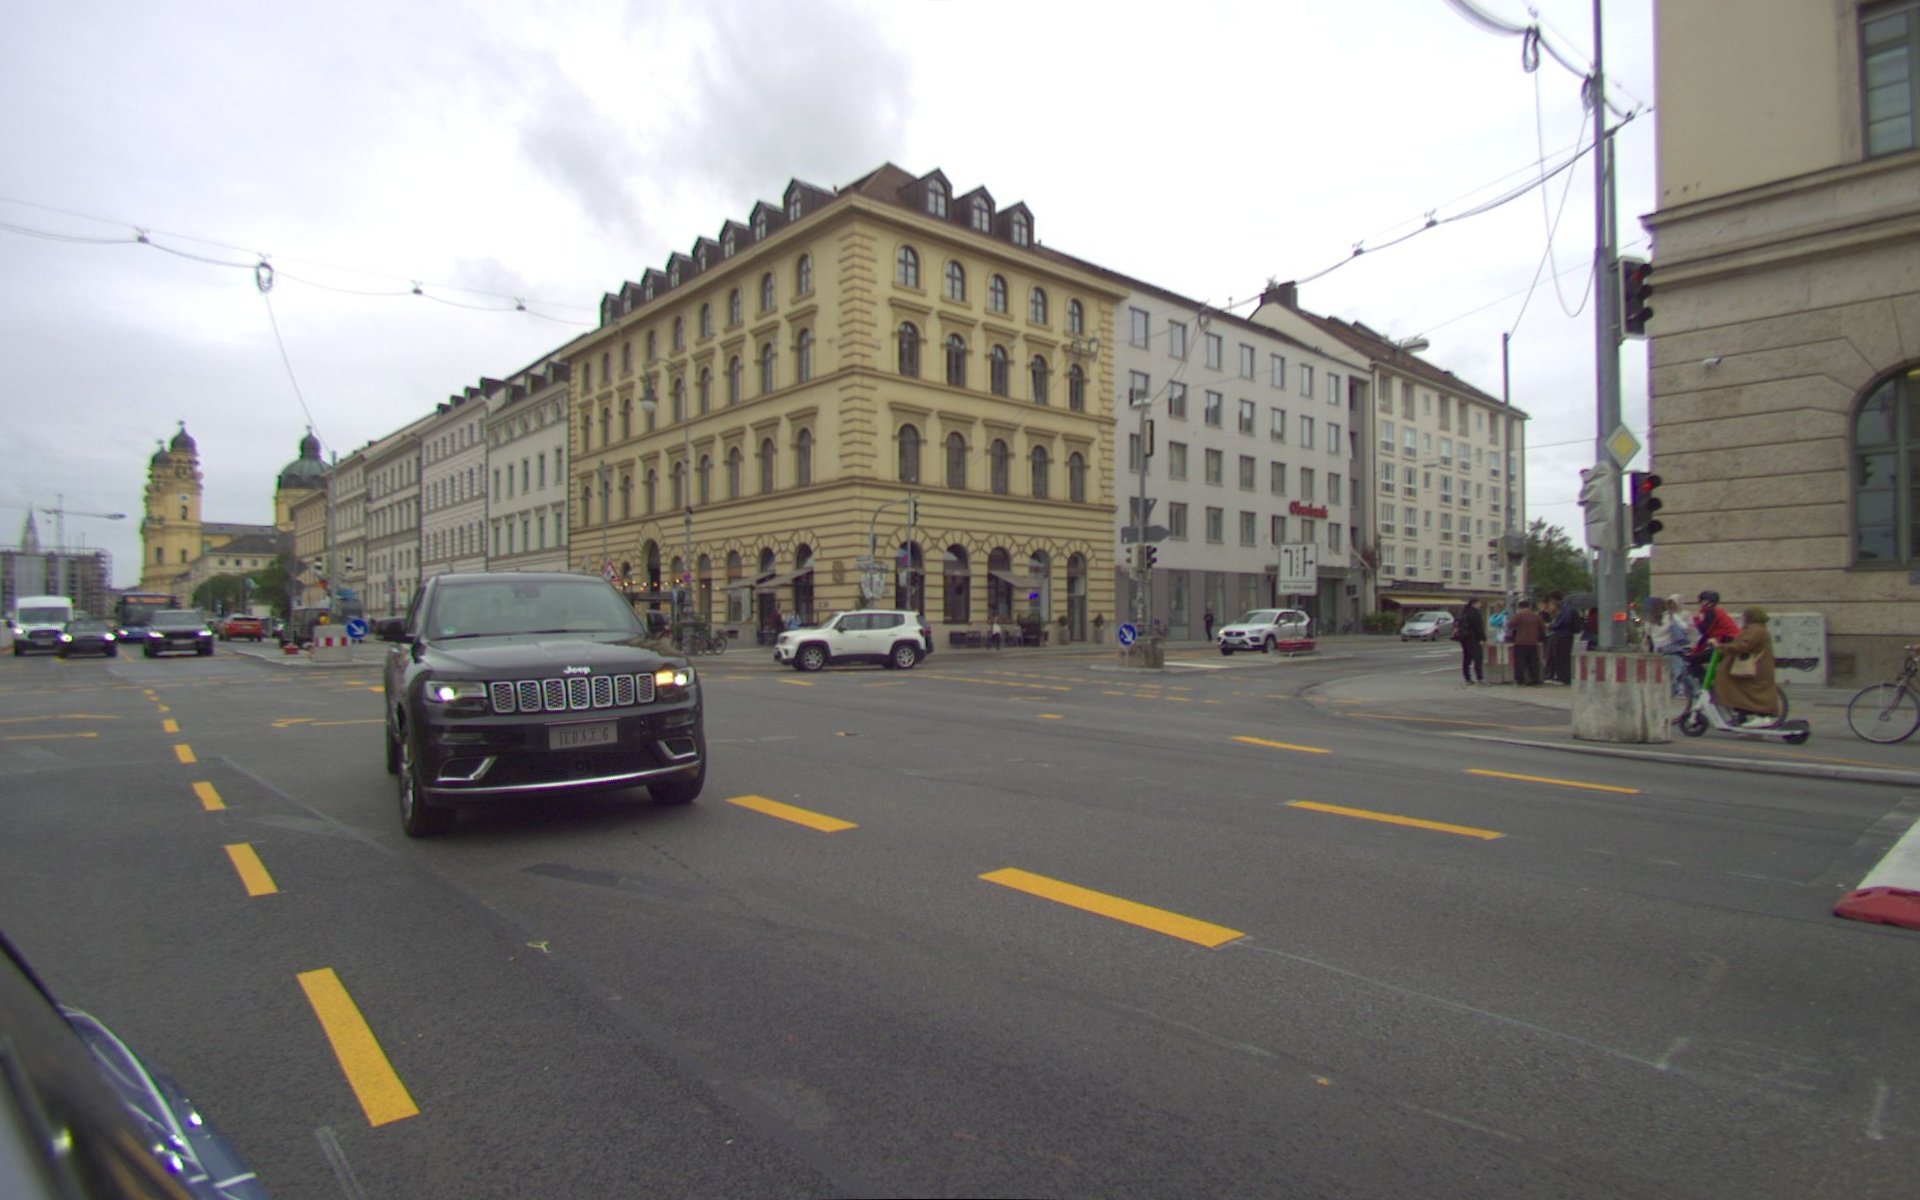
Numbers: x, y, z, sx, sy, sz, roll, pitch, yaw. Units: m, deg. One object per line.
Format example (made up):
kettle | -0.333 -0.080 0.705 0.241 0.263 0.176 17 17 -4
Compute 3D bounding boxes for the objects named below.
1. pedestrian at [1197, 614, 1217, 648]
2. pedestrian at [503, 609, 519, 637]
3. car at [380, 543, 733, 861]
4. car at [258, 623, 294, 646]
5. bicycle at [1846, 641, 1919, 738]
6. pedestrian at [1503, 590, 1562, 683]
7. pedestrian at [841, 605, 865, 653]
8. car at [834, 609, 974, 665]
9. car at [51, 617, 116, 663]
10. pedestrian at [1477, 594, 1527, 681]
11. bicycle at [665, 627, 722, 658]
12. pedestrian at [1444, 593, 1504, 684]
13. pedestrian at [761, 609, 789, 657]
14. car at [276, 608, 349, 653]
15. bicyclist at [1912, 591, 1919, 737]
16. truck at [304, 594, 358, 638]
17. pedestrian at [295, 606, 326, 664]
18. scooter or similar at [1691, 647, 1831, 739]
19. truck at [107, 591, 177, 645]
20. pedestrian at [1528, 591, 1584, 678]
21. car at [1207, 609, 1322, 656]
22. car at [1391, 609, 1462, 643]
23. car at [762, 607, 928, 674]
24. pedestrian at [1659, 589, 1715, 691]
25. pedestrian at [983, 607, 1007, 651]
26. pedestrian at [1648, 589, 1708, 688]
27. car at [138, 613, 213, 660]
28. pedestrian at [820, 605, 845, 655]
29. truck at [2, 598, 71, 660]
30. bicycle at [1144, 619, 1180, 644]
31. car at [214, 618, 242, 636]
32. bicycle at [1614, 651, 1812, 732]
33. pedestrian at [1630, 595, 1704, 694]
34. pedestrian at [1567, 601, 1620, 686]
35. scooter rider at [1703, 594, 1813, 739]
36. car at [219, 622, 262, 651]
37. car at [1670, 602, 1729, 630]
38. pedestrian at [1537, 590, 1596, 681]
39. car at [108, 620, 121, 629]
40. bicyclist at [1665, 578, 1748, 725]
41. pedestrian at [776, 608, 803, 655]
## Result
pedestrian | 13.156 1.657 53.888 0.725 1.785 0.740 1 0 -43
pedestrian | -28.424 1.466 64.079 0.728 1.785 0.737 1 -2 -42
car | -3.480 0.614 8.076 1.967 1.748 4.599 0 -1 -30
car | -53.358 2.660 78.966 1.795 1.733 4.005 1 -1 -42
bicycle | 11.266 1.026 11.300 0.782 1.048 1.968 1 0 -39
pedestrian | 11.117 0.692 19.667 0.806 1.769 0.587 0 0 -11
pedestrian | -3.984 1.065 37.597 0.726 1.785 0.738 0 0 -21
car | -1.800 1.156 32.462 4.159 1.690 1.745 0 -1 -20
car | -33.955 1.504 39.173 1.774 1.606 4.004 1 0 -43
pedestrian | 11.343 0.769 21.190 0.813 1.769 0.582 0 0 18
bicycle | -9.994 1.585 37.916 2.185 1.107 0.595 -1 -2 24
pedestrian | 10.252 0.746 20.193 0.668 1.769 0.822 0 0 -26
pedestrian | -7.023 1.229 38.445 0.735 1.785 0.730 0 0 38
car | -31.103 1.444 48.597 2.211 2.029 4.455 1 -2 -43
bicyclist | 11.242 0.718 11.339 0.782 1.627 0.747 1 0 -39
truck | -40.417 1.043 64.965 2.188 2.683 4.789 1 -2 -42
pedestrian | -20.471 1.090 31.877 0.724 1.785 0.740 1 0 -40
scooter or similar | 9.445 1.070 11.960 0.578 0.972 1.217 1 0 -40
truck | -48.576 1.005 60.017 2.945 3.036 7.154 1 0 -41
pedestrian | 12.344 0.702 20.972 0.575 1.769 0.822 0 0 -28
car | 10.600 1.081 35.095 4.169 1.535 2.002 1 -2 -43
car | 24.977 1.355 54.147 4.168 1.748 2.002 1 -2 -43
car | -3.138 1.069 27.595 4.159 1.690 1.805 0 -1 -23
pedestrian | 12.289 0.655 17.111 0.533 1.684 0.619 1 0 -34
pedestrian | 1.461 1.205 42.156 0.723 1.785 0.741 0 0 -27
pedestrian | 12.871 0.672 18.142 0.807 1.706 0.719 1 0 -41
car | -29.949 1.359 38.582 1.969 1.697 4.005 1 -1 -42
pedestrian | -4.704 1.096 37.326 0.747 1.785 0.738 0 0 -21
truck | -39.900 1.244 43.722 2.084 2.499 5.865 1 -1 -43
bicycle | 10.508 1.649 52.607 2.164 1.252 0.601 0 0 -40
car | -71.702 2.608 99.070 1.795 1.733 4.005 1 -1 -42
bicycle | 9.779 1.153 13.212 0.651 0.886 1.982 1 0 -39
pedestrian | 11.650 0.712 16.685 0.656 1.569 0.822 1 0 -34
pedestrian | 11.862 0.793 18.950 0.808 1.539 0.668 1 0 -44
scooter rider | 9.435 0.750 11.975 0.583 1.634 0.937 1 0 -40
car | -45.253 2.277 63.614 1.795 1.733 4.005 1 -1 -42
car | 40.194 0.857 54.987 4.385 1.435 1.821 1 0 -43
pedestrian | 11.965 0.698 19.991 0.806 1.769 0.587 0 0 -11
car | -165.460 4.813 197.950 1.839 1.812 3.758 1 -1 -41
bicyclist | 9.762 0.647 13.237 0.650 1.856 0.747 1 0 -39
pedestrian | -6.571 1.210 39.045 0.735 1.785 0.730 0 0 38
